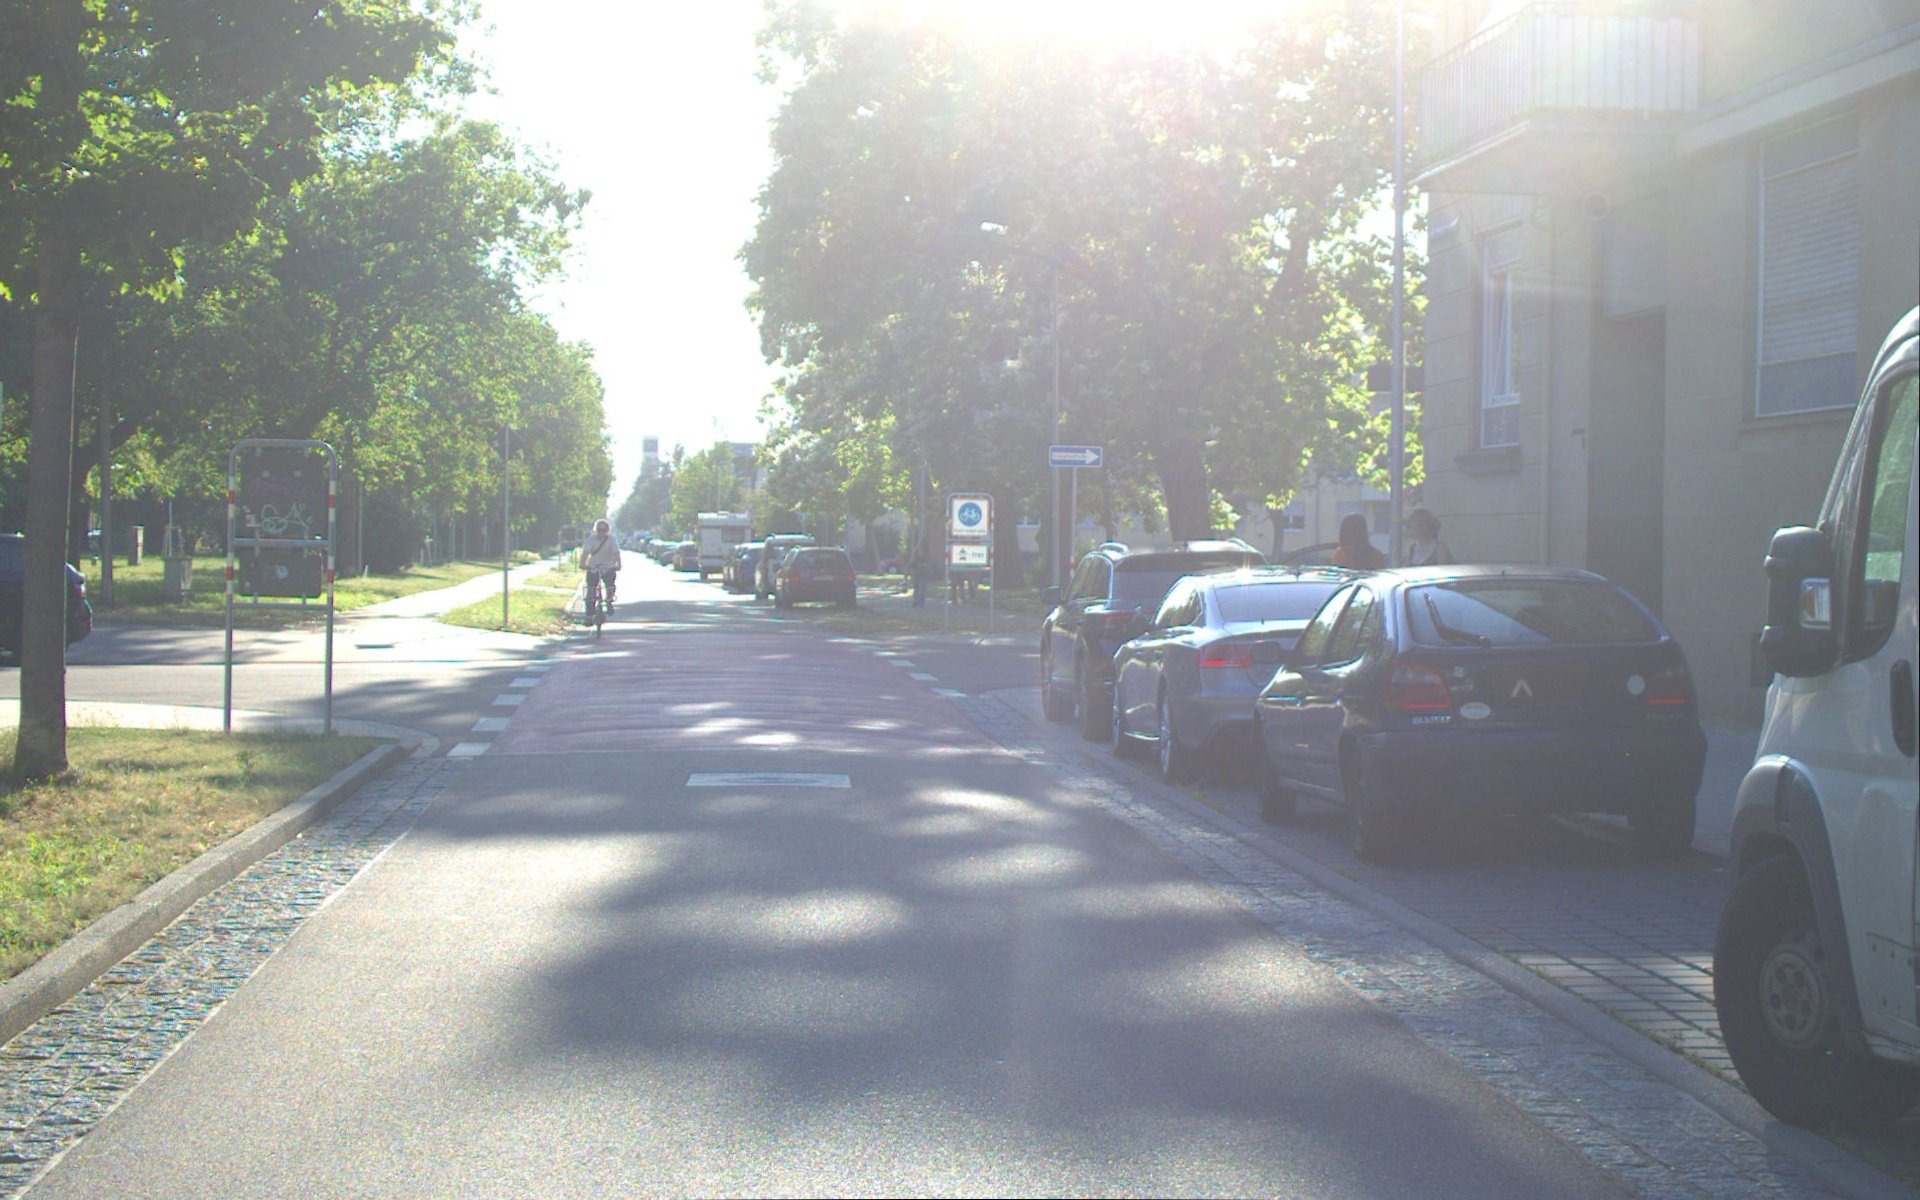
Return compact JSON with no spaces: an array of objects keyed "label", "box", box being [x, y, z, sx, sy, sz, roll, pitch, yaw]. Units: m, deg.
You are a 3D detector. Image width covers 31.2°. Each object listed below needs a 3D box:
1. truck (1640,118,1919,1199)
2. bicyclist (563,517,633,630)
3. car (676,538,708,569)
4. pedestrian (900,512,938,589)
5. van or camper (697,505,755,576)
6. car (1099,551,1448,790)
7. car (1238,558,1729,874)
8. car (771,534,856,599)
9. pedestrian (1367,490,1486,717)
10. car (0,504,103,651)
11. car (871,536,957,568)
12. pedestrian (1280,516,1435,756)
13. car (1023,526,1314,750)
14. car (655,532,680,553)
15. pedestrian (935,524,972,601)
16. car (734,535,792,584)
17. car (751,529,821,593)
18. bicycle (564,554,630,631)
[{"label":"truck","box":[3.281,0.212,6.738,2.128,2.555,6.878,1,1,-3]},{"label":"bicyclist","box":[-5.554,-0.406,52.789,0.937,1.697,0.905,2,1,1]},{"label":"car","box":[-14.770,-2.578,189.576,1.626,1.663,4.250,1,1,-6]},{"label":"pedestrian","box":[-0.951,-1.136,78.908,0.753,1.730,0.732,2,1,-5]},{"label":"van or camper","box":[-10.140,-2.532,148.367,2.233,2.894,5.674,1,0,-6]},{"label":"car","box":[2.001,0.405,23.124,1.703,1.415,4.349,-1,1,-3]},{"label":"car","box":[2.574,0.508,17.817,1.703,1.415,4.036,-1,1,-3]},{"label":"car","box":[-3.518,-0.801,81.896,1.678,1.481,4.810,1,1,-6]},{"label":"pedestrian","box":[3.816,0.027,28.096,0.729,1.824,0.556,1,1,-41]},{"label":"car","box":[-11.610,-0.262,37.508,3.986,1.569,1.891,1,-1,-30]},{"label":"car","box":[-2.305,-2.380,171.241,4.194,1.525,2.000,1,0,-1]},{"label":"pedestrian","box":[2.994,0.261,25.966,0.952,1.763,0.779,2,1,-7]},{"label":"car","box":[1.634,0.243,28.411,1.703,1.620,4.350,-1,2,-6]},{"label":"car","box":[-20.699,-4.068,242.973,1.626,1.405,4.250,1,1,-6]},{"label":"pedestrian","box":[-0.146,-0.869,78.987,0.725,1.730,0.732,2,1,-5]},{"label":"car","box":[-6.389,-1.307,111.163,1.731,1.545,4.276,1,1,-5]},{"label":"car","box":[-4.875,-1.087,95.814,1.678,1.734,4.515,1,1,-6]},{"label":"bicycle","box":[-5.567,-0.131,52.777,0.738,1.131,2.104,2,1,1]}]
